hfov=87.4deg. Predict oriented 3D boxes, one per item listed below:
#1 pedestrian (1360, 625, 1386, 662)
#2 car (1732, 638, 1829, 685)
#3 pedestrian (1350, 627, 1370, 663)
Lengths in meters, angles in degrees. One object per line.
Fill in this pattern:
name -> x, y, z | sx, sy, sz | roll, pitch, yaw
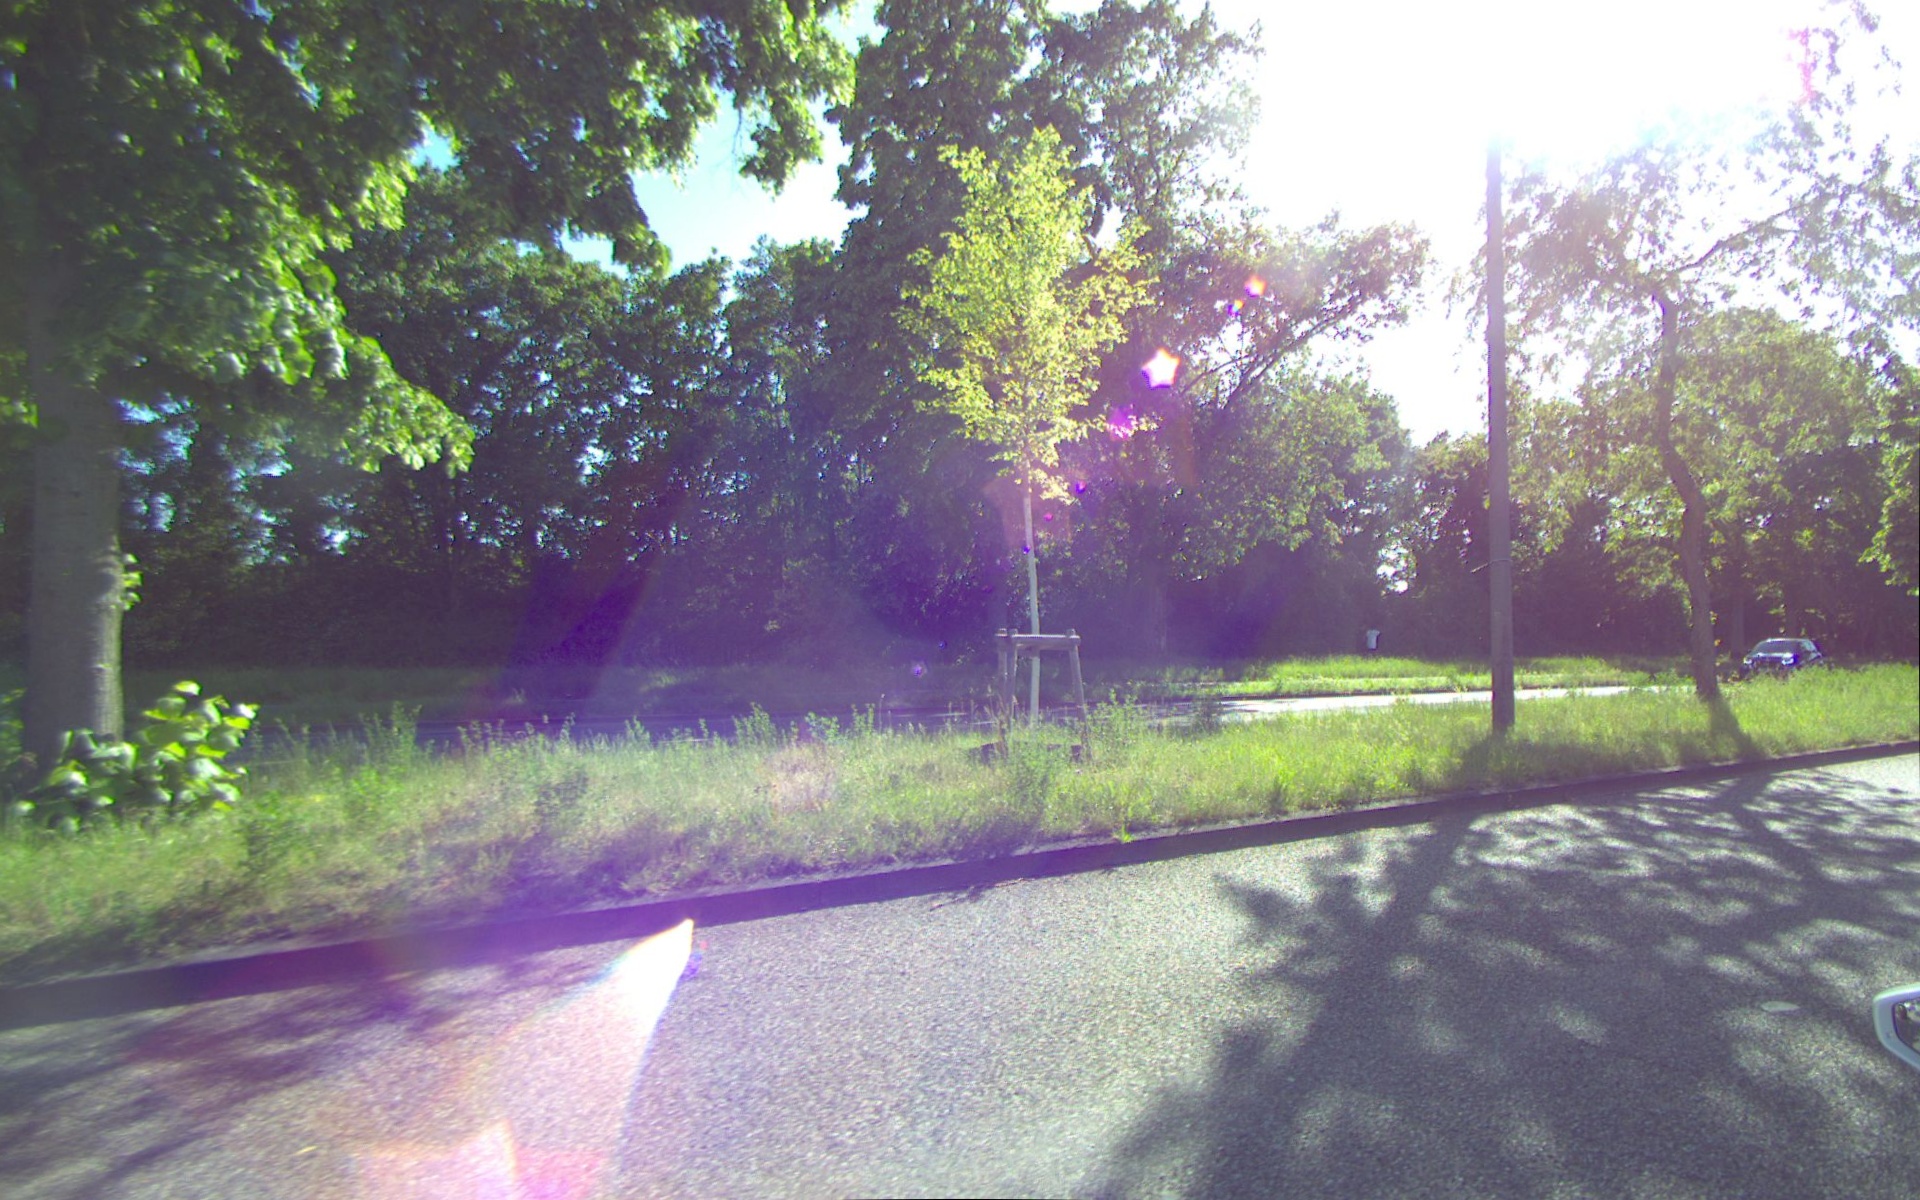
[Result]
pedestrian -> 16.808, 1.778, 40.885 | 0.906, 1.479, 0.542 | 1, -2, -30
car -> 28.505, 2.119, 34.890 | 2.983, 1.525, 1.706 | 1, -4, -33
pedestrian -> 16.576, 1.853, 41.649 | 0.589, 1.479, 0.542 | 1, -2, -30
